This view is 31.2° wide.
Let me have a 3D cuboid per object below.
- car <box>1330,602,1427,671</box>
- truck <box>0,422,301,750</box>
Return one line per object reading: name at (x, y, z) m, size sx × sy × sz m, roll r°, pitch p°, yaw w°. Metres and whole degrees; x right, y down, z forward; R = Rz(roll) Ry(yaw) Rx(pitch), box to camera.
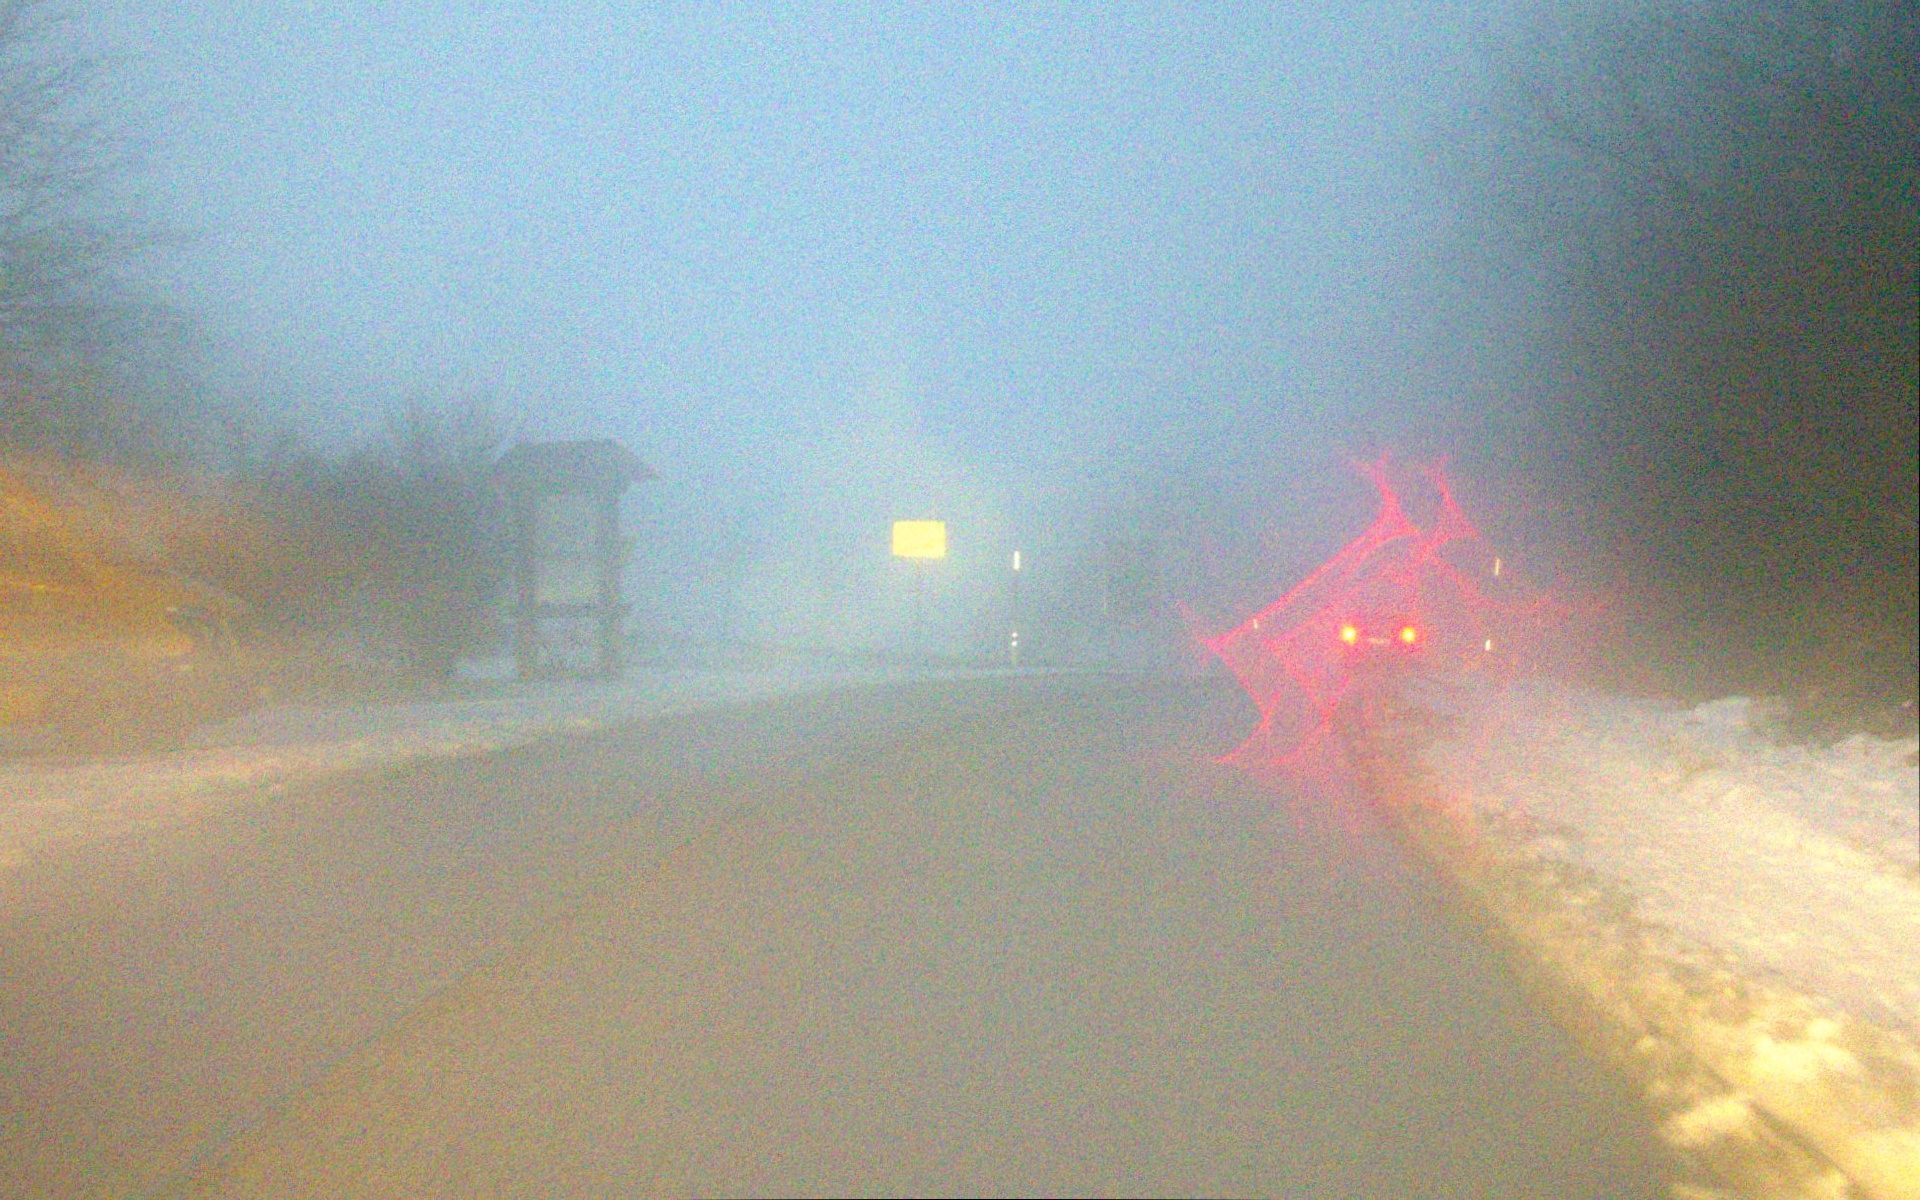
car at (9.260, 0.825, 76.286) m, size 1.994 × 1.415 × 3.999 m, roll 1°, pitch -2°, yaw 5°
truck at (-7.742, -0.061, 25.591) m, size 5.260 × 2.295 × 2.000 m, roll -2°, pitch 1°, yaw -3°
